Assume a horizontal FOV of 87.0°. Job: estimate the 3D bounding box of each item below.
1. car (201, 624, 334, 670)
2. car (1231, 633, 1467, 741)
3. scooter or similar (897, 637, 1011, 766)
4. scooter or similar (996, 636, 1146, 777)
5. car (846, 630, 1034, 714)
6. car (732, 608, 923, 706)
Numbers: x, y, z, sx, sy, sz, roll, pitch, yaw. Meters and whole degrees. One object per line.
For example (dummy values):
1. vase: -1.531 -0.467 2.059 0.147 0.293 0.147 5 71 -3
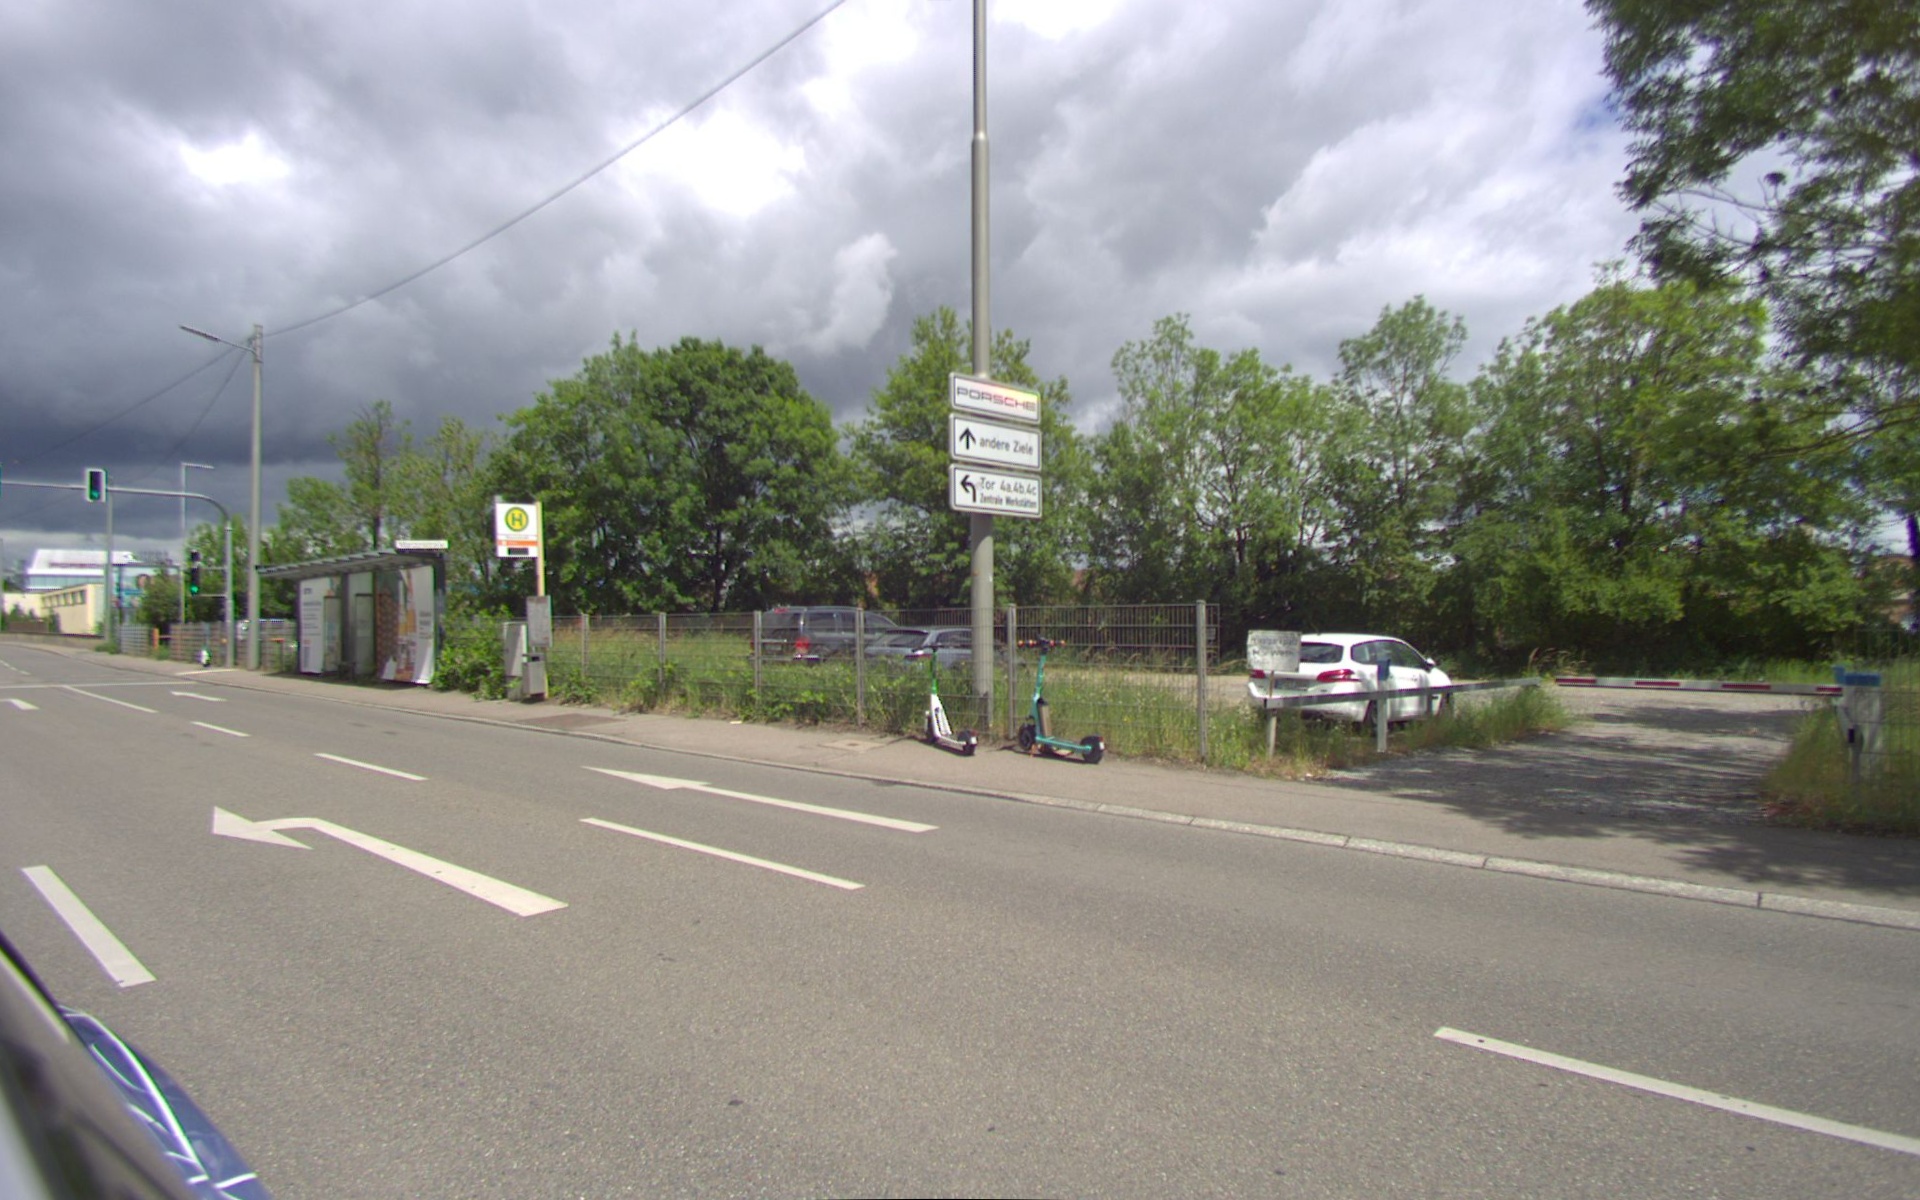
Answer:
1. car: -28.172 1.882 41.259 1.997 1.748 4.065 -2 -2 37
2. car: 6.168 1.240 15.805 4.226 1.391 1.867 1 -2 -45
3. scooter or similar: -0.094 1.060 11.047 0.527 1.272 1.476 -1 0 -32
4. scooter or similar: 1.085 1.017 10.123 0.528 1.275 1.473 -1 0 -43
5. car: -0.297 1.398 21.057 1.905 1.498 4.242 -1 -1 33
6. car: -2.940 1.217 23.295 2.135 2.029 4.241 -1 -1 34
